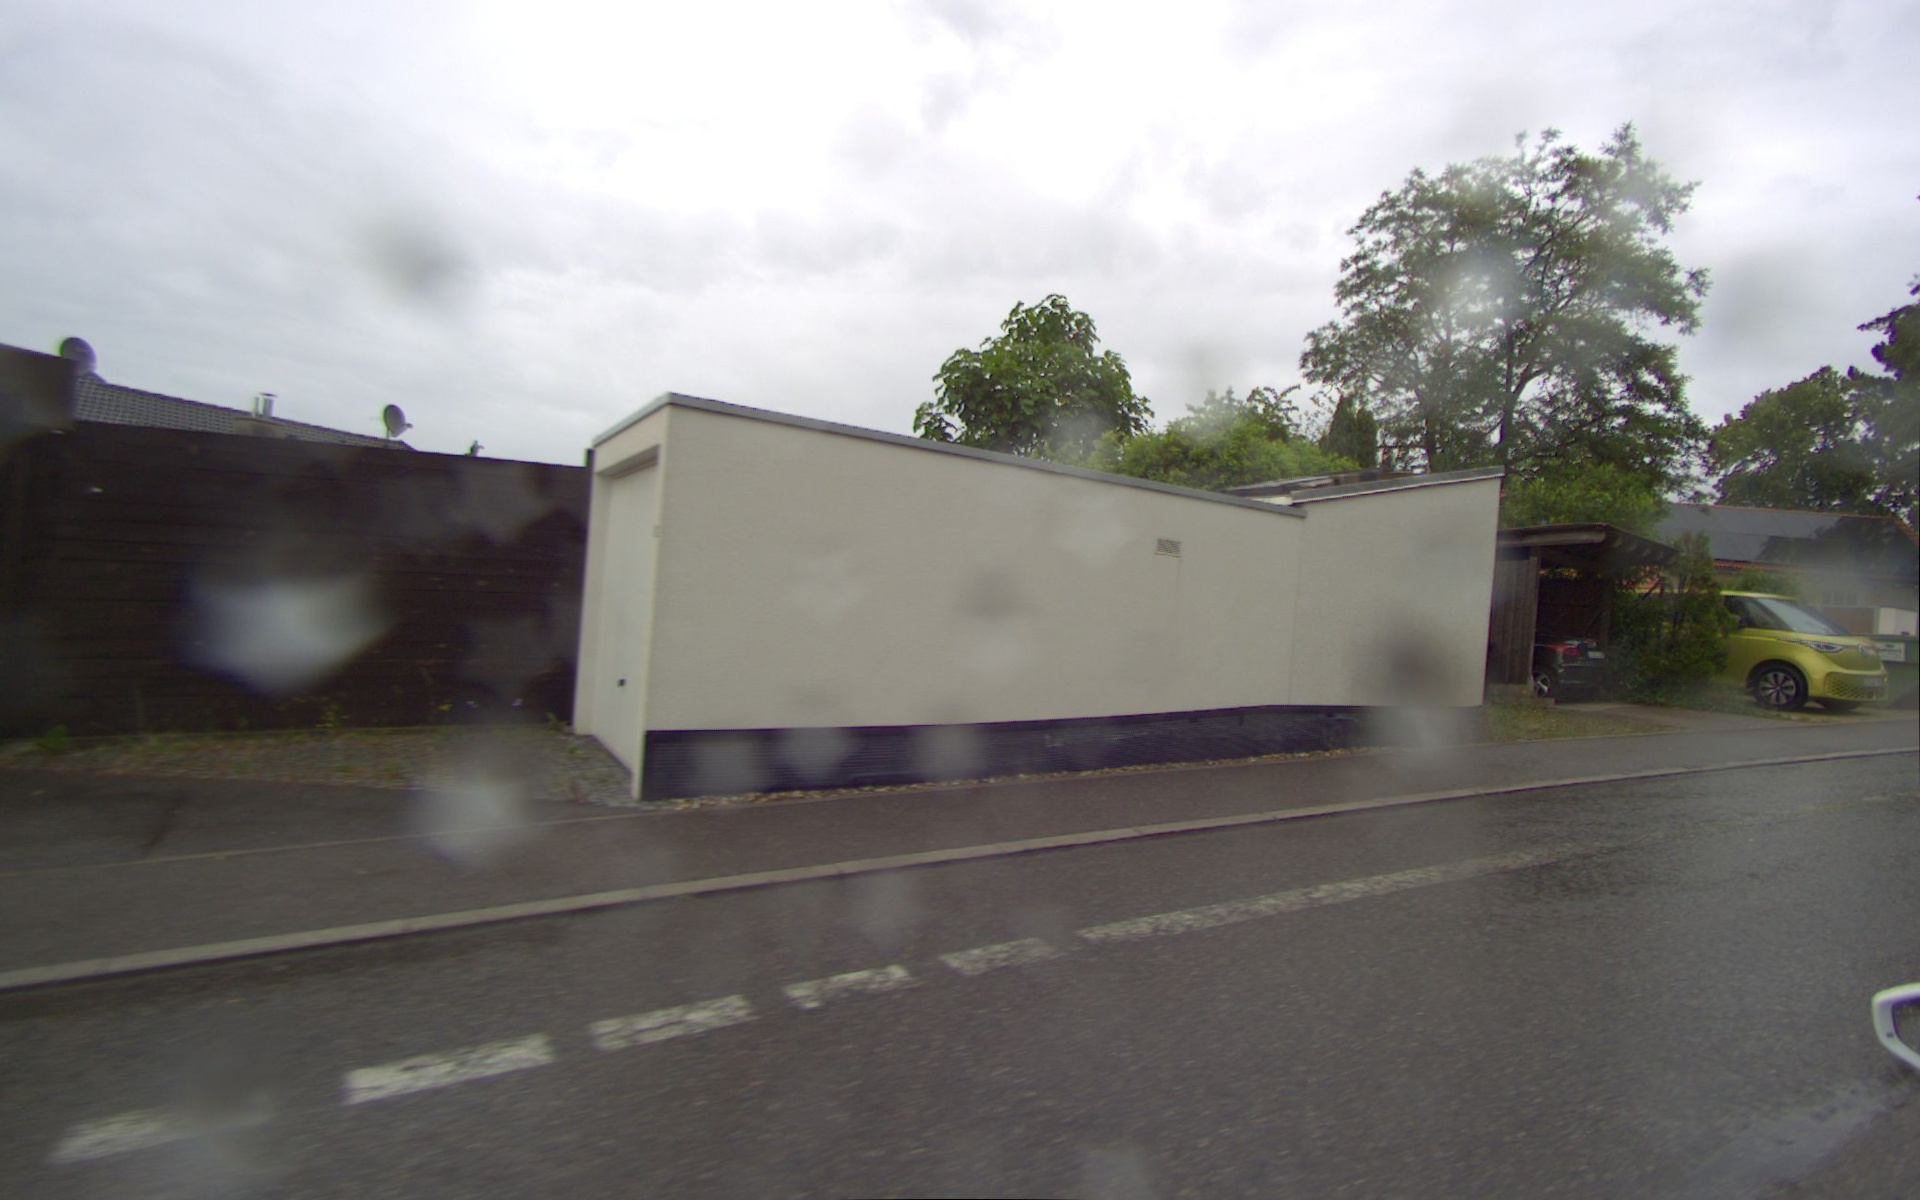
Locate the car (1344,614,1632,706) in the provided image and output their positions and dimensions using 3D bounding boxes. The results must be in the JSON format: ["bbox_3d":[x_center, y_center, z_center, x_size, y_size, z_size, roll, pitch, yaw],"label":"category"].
[{"bbox_3d":[8.707,0.926,16.915,1.771,1.320,3.975,2,-1,-31],"label":"car"}]

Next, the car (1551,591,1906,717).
[{"bbox_3d":[13.170,0.819,17.587,2.060,1.884,4.491,1,0,-23],"label":"car"}]

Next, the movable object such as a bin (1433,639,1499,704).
[{"bbox_3d":[7.431,1.036,14.759,0.614,0.916,0.679,1,-1,-40],"label":"movable object such as a bin"}]
